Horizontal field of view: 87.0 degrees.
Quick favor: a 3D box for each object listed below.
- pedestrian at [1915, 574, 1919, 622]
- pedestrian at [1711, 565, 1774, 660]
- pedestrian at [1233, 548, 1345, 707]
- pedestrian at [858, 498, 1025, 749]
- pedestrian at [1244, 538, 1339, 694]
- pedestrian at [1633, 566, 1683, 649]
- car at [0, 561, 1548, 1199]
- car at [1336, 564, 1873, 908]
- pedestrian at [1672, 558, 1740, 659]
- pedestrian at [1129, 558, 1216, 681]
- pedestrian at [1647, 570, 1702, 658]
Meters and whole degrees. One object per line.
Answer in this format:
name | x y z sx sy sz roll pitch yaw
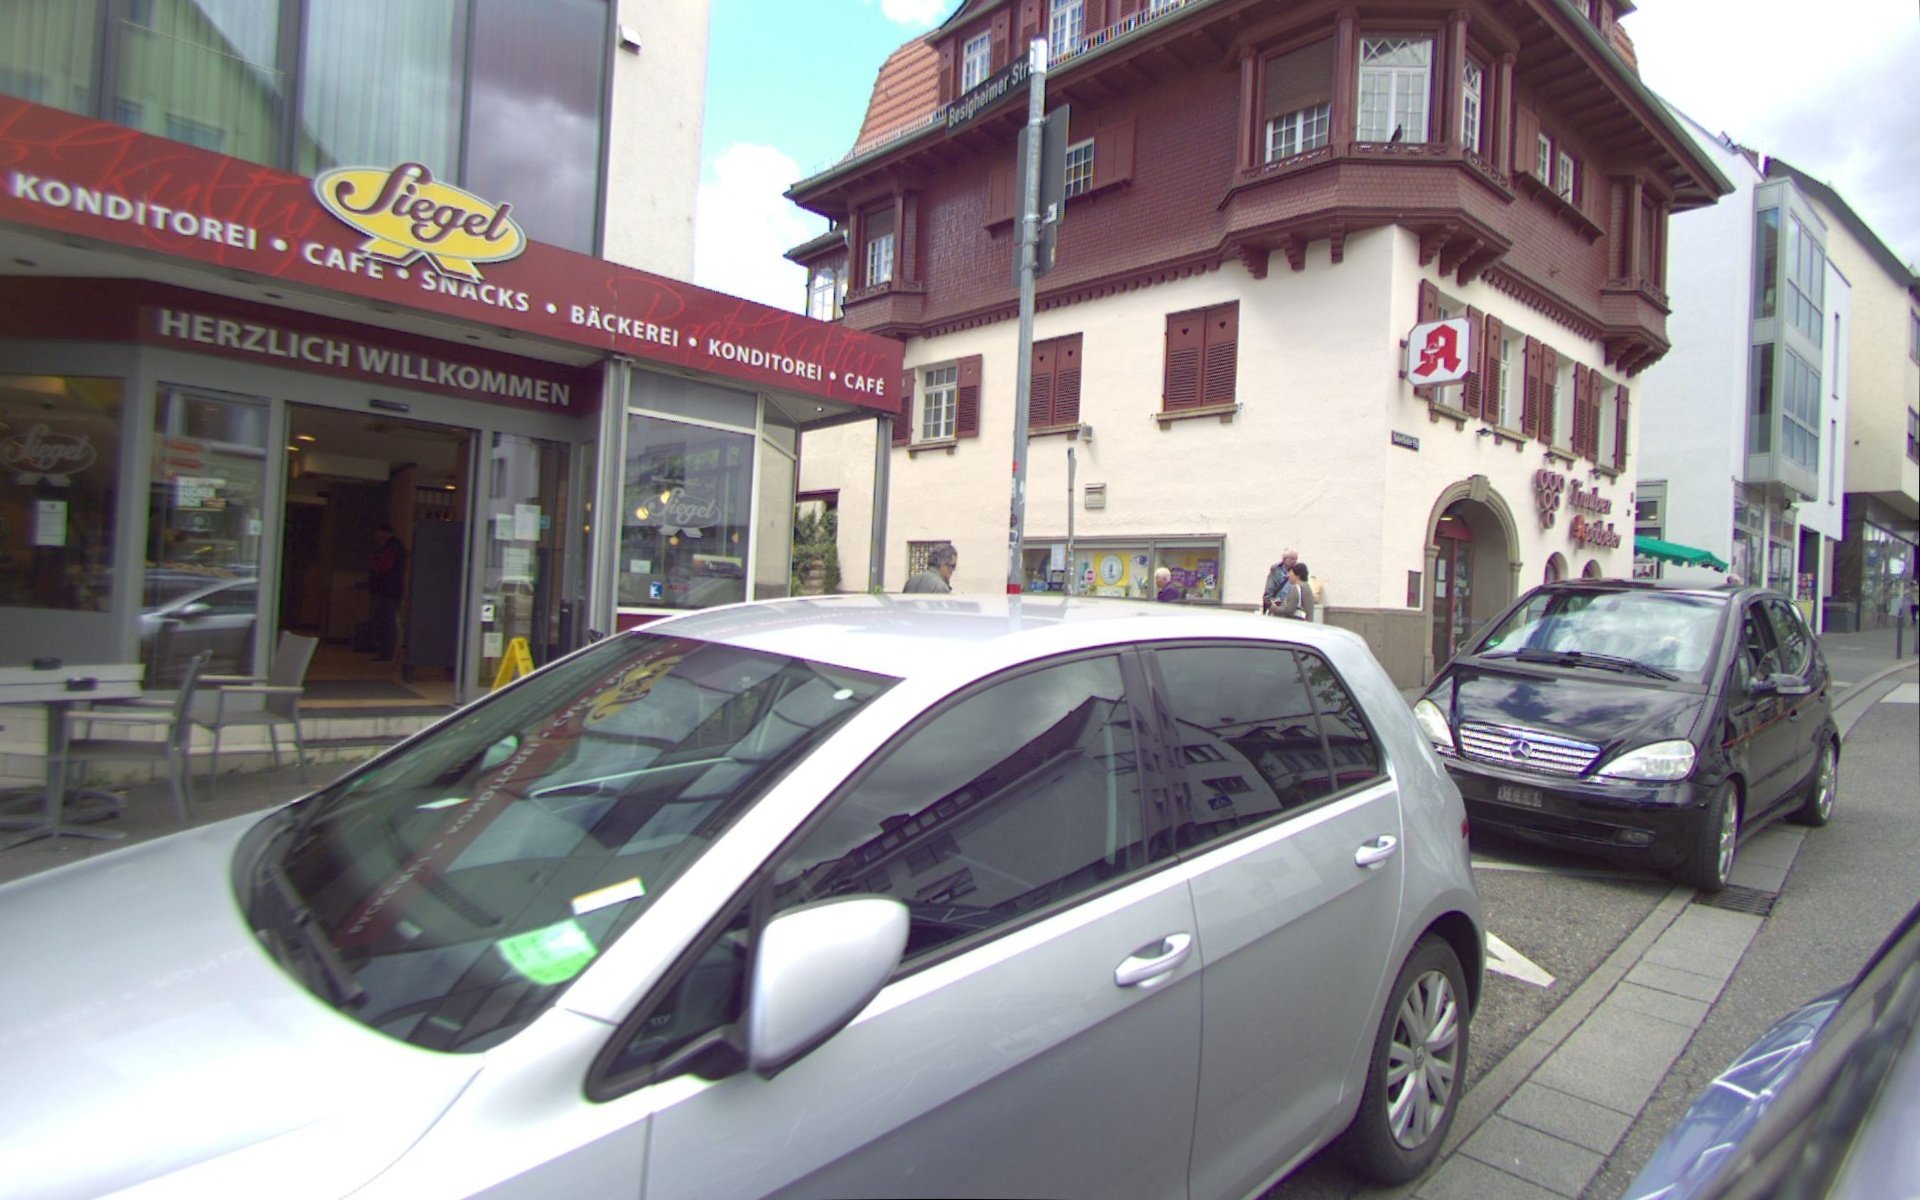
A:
pedestrian | 34.442 -0.059 35.828 0.766 1.693 0.759 0 4 -41
pedestrian | 15.043 0.235 19.478 0.612 1.789 0.704 0 1 -14
pedestrian | 3.633 0.273 11.203 0.853 1.665 0.775 0 2 -34
pedestrian | -0.147 0.151 7.584 0.926 1.728 0.867 0 1 -34
pedestrian | 4.005 0.173 12.231 0.803 1.791 0.776 0 1 -38
pedestrian | 14.183 0.140 20.568 0.689 1.633 0.626 0 1 -34
car | -0.322 0.684 2.248 3.932 1.486 1.705 -1 2 -42
car | 4.322 0.585 6.569 3.883 1.574 1.807 0 2 -39
pedestrian | 14.259 0.148 19.363 0.690 1.880 0.780 1 1 3
pedestrian | 2.812 0.239 13.447 0.792 1.549 0.727 0 4 -34
pedestrian | 13.521 0.253 19.146 0.689 1.633 0.626 0 1 -34
